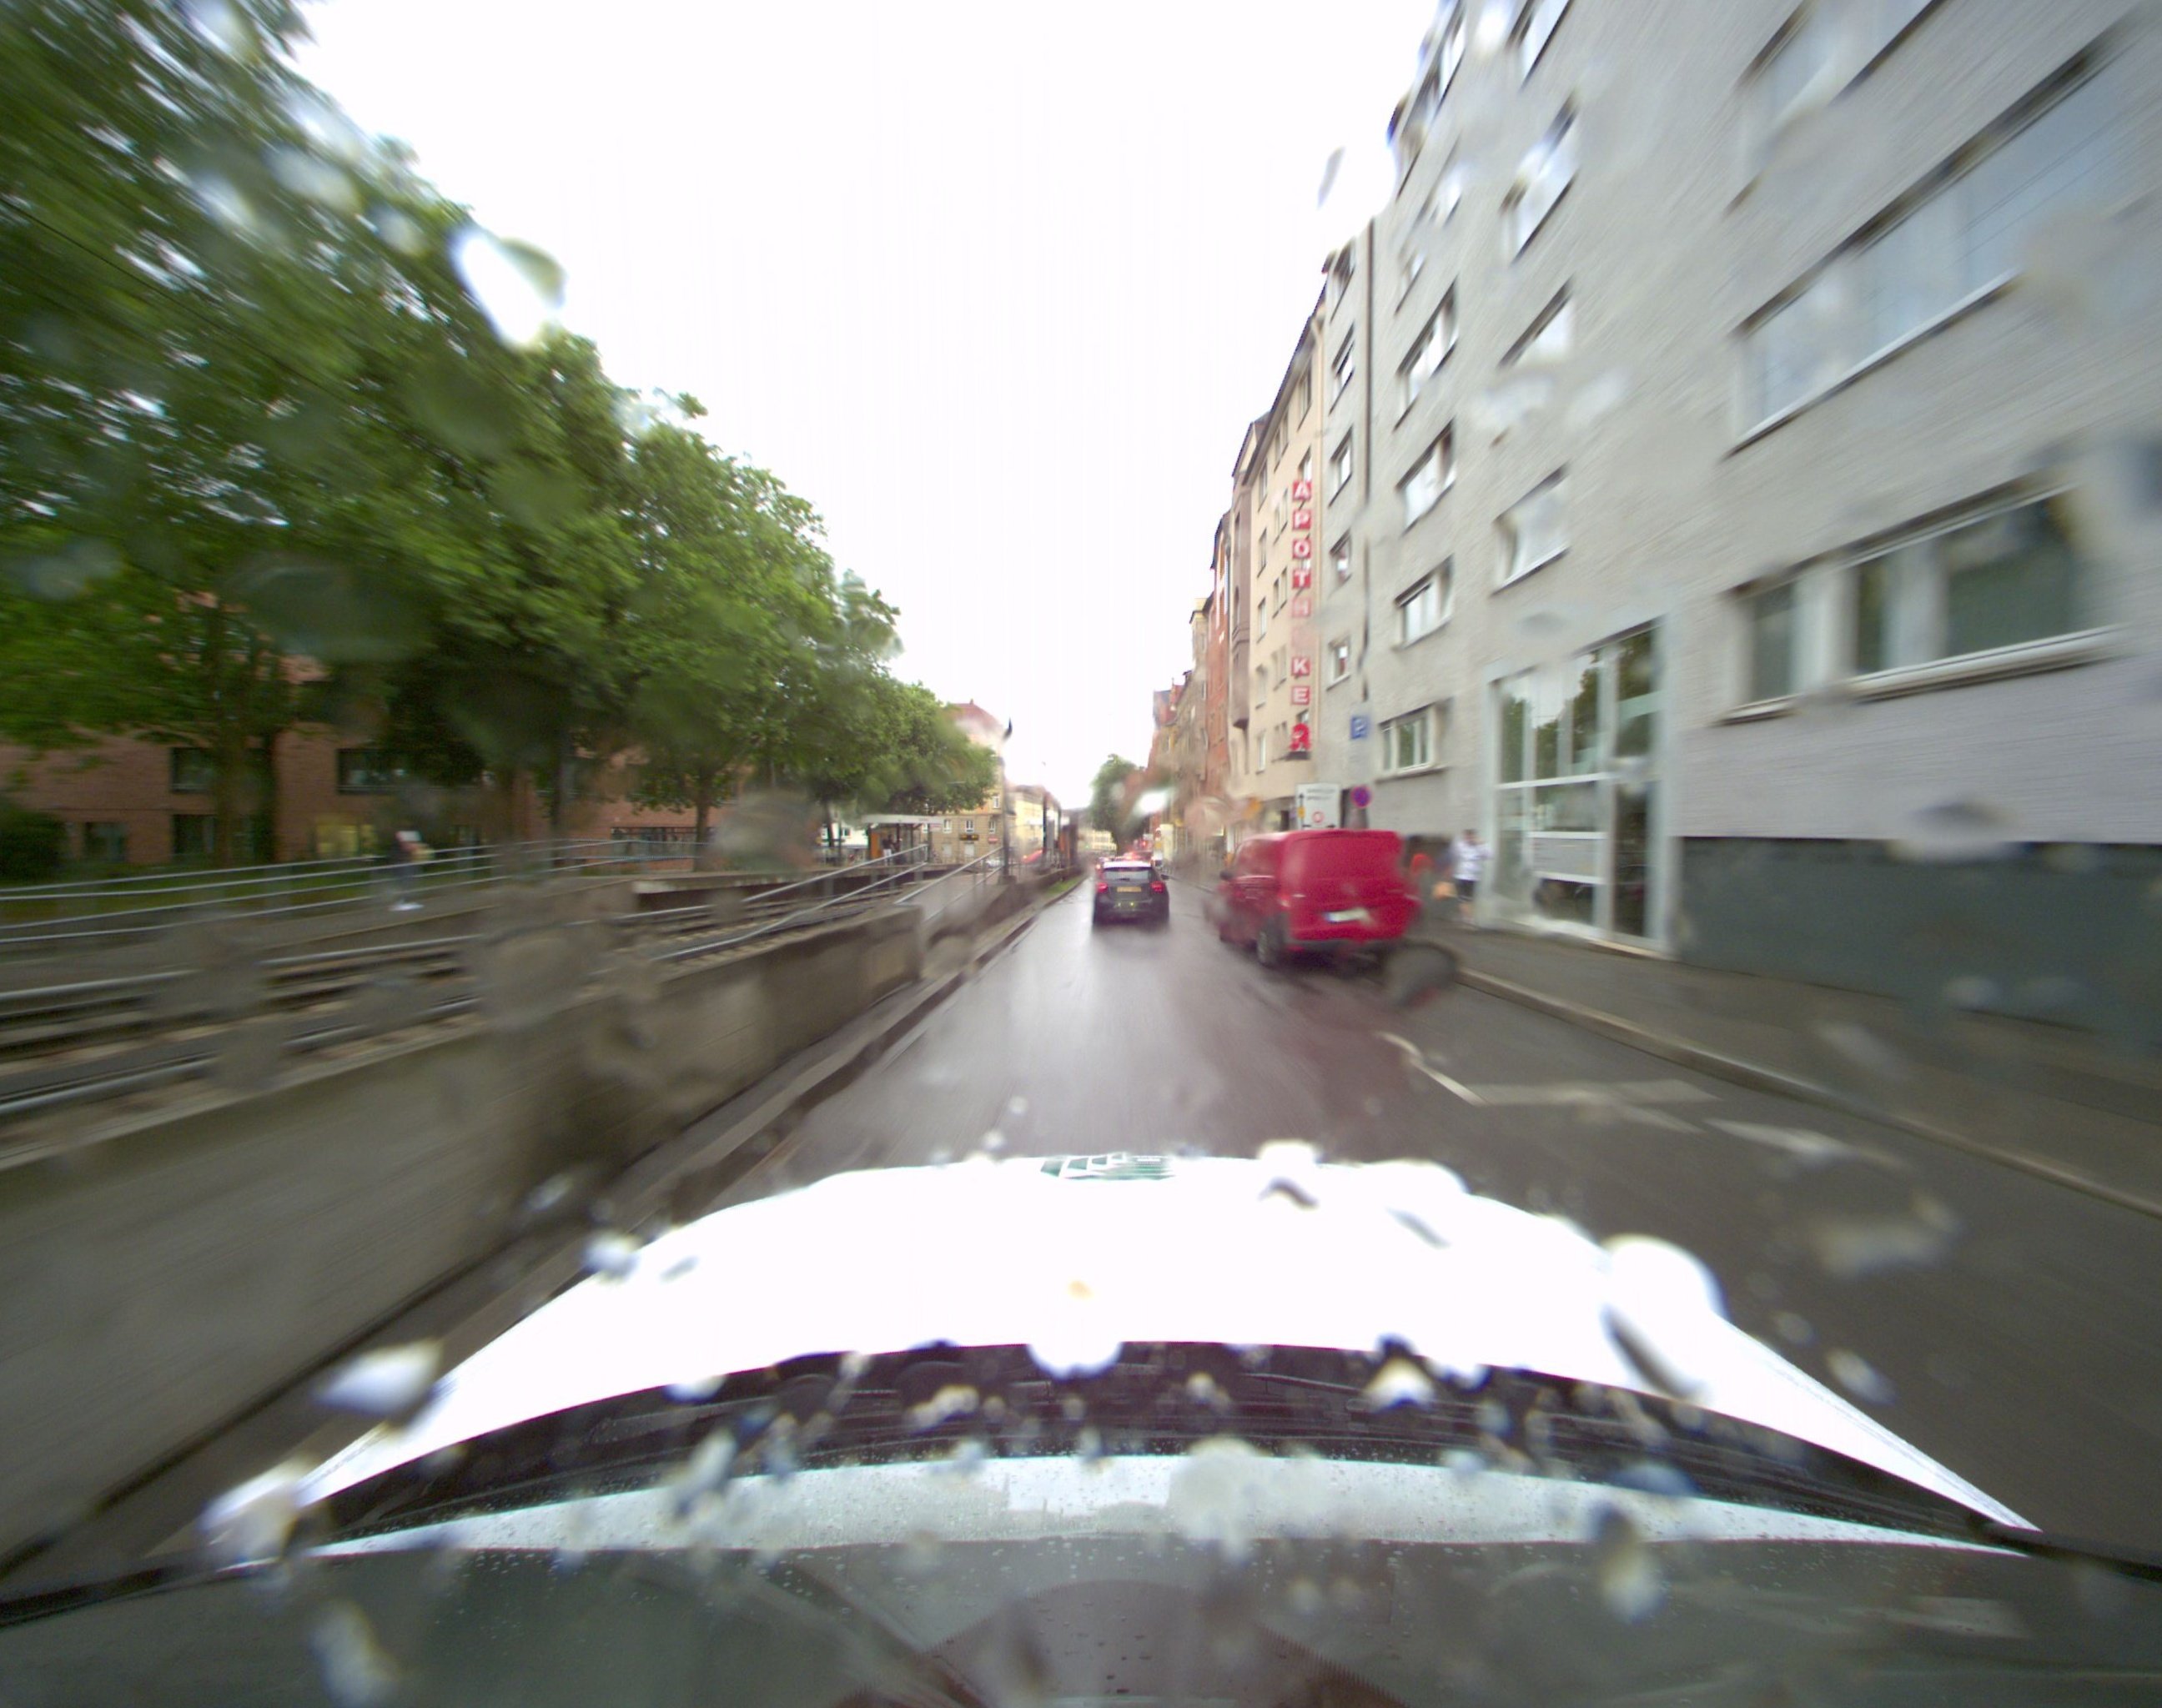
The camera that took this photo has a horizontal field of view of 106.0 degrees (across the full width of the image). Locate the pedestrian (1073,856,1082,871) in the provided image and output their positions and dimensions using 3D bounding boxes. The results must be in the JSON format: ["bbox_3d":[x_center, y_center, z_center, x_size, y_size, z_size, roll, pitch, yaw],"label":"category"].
[{"bbox_3d":[-0.426,1.099,92.325,0.745,1.724,0.732,1,-1,-42],"label":"pedestrian"}]

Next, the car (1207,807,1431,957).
[{"bbox_3d":[3.348,0.379,12.697,1.968,1.838,5.244,0,-1,0],"label":"car"}]

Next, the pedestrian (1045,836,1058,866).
[{"bbox_3d":[-1.601,-0.143,43.625,0.492,1.605,0.640,-1,-1,18],"label":"pedestrian"}]

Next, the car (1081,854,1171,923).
[{"bbox_3d":[1.048,0.739,19.322,1.887,1.390,4.003,-1,0,3],"label":"car"}]

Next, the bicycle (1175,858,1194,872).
[{"bbox_3d":[8.356,0.873,65.786,1.698,1.115,0.459,-1,-2,-40],"label":"bicycle"}]

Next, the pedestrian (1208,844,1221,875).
[{"bbox_3d":[8.027,0.346,49.042,0.576,1.830,0.563,-4,-2,-1],"label":"pedestrian"}]

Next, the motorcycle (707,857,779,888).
[{"bbox_3d":[-20.216,1.085,48.718,3.851,1.816,1.006,0,-1,0],"label":"motorcycle"}]

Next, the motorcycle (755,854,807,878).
[{"bbox_3d":[-19.896,0.796,54.108,3.048,1.627,1.006,0,-1,0],"label":"motorcycle"}]

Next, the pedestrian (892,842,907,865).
[{"bbox_3d":[-10.726,-0.024,48.118,0.775,1.362,0.564,1,0,-1],"label":"pedestrian"}]

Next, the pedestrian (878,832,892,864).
[{"bbox_3d":[-10.903,-0.332,45.382,0.560,1.715,0.706,1,0,0],"label":"pedestrian"}]

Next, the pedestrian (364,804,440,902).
[{"bbox_3d":[-11.748,-0.035,14.112,0.655,1.662,0.688,1,3,1],"label":"pedestrian"}]

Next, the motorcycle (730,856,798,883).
[{"bbox_3d":[-19.808,0.972,50.931,3.851,1.605,1.006,0,-1,0],"label":"motorcycle"}]

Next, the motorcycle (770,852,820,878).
[{"bbox_3d":[-19.621,0.751,55.847,3.026,1.816,0.993,0,-1,0],"label":"motorcycle"}]

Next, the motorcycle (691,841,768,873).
[{"bbox_3d":[-19.910,0.159,46.172,3.851,1.774,1.006,0,-1,0],"label":"motorcycle"}]

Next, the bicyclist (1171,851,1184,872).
[{"bbox_3d":[7.844,0.601,66.020,0.854,1.657,0.624,0,-2,-40],"label":"bicyclist"}]

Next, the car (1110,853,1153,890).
[{"bbox_3d":[2.174,0.744,35.798,1.674,1.489,3.612,-1,0,0],"label":"car"}]

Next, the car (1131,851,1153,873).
[{"bbox_3d":[5.388,0.731,72.331,1.913,1.936,4.688,0,-1,3],"label":"car"}]

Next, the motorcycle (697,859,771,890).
[{"bbox_3d":[-20.252,1.189,47.568,3.851,1.816,1.006,0,-1,0],"label":"motorcycle"}]

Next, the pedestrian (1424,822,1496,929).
[{"bbox_3d":[6.455,0.351,13.916,0.848,1.757,0.838,1,-1,2],"label":"pedestrian"}]

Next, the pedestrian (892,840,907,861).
[{"bbox_3d":[-10.869,-0.208,48.774,0.701,1.240,0.564,1,0,0],"label":"pedestrian"}]

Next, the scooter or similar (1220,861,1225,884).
[{"bbox_3d":[7.611,0.965,43.840,0.256,1.222,1.198,0,-1,11],"label":"scooter or similar"}]

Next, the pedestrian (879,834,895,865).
[{"bbox_3d":[-10.413,-0.224,43.753,0.684,1.641,0.564,1,0,0],"label":"pedestrian"}]

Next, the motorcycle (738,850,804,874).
[{"bbox_3d":[-20.116,0.520,52.948,3.851,1.488,1.006,0,-1,0],"label":"motorcycle"}]

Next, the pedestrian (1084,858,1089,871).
[{"bbox_3d":[0.602,1.190,92.286,0.531,1.530,0.435,0,-1,-6],"label":"pedestrian"}]

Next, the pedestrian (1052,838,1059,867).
[{"bbox_3d":[-1.439,-0.082,45.756,0.408,1.605,0.450,0,-1,-4],"label":"pedestrian"}]

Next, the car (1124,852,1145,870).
[{"bbox_3d":[5.707,0.760,87.898,1.927,1.831,4.279,0,0,-1],"label":"car"}]
